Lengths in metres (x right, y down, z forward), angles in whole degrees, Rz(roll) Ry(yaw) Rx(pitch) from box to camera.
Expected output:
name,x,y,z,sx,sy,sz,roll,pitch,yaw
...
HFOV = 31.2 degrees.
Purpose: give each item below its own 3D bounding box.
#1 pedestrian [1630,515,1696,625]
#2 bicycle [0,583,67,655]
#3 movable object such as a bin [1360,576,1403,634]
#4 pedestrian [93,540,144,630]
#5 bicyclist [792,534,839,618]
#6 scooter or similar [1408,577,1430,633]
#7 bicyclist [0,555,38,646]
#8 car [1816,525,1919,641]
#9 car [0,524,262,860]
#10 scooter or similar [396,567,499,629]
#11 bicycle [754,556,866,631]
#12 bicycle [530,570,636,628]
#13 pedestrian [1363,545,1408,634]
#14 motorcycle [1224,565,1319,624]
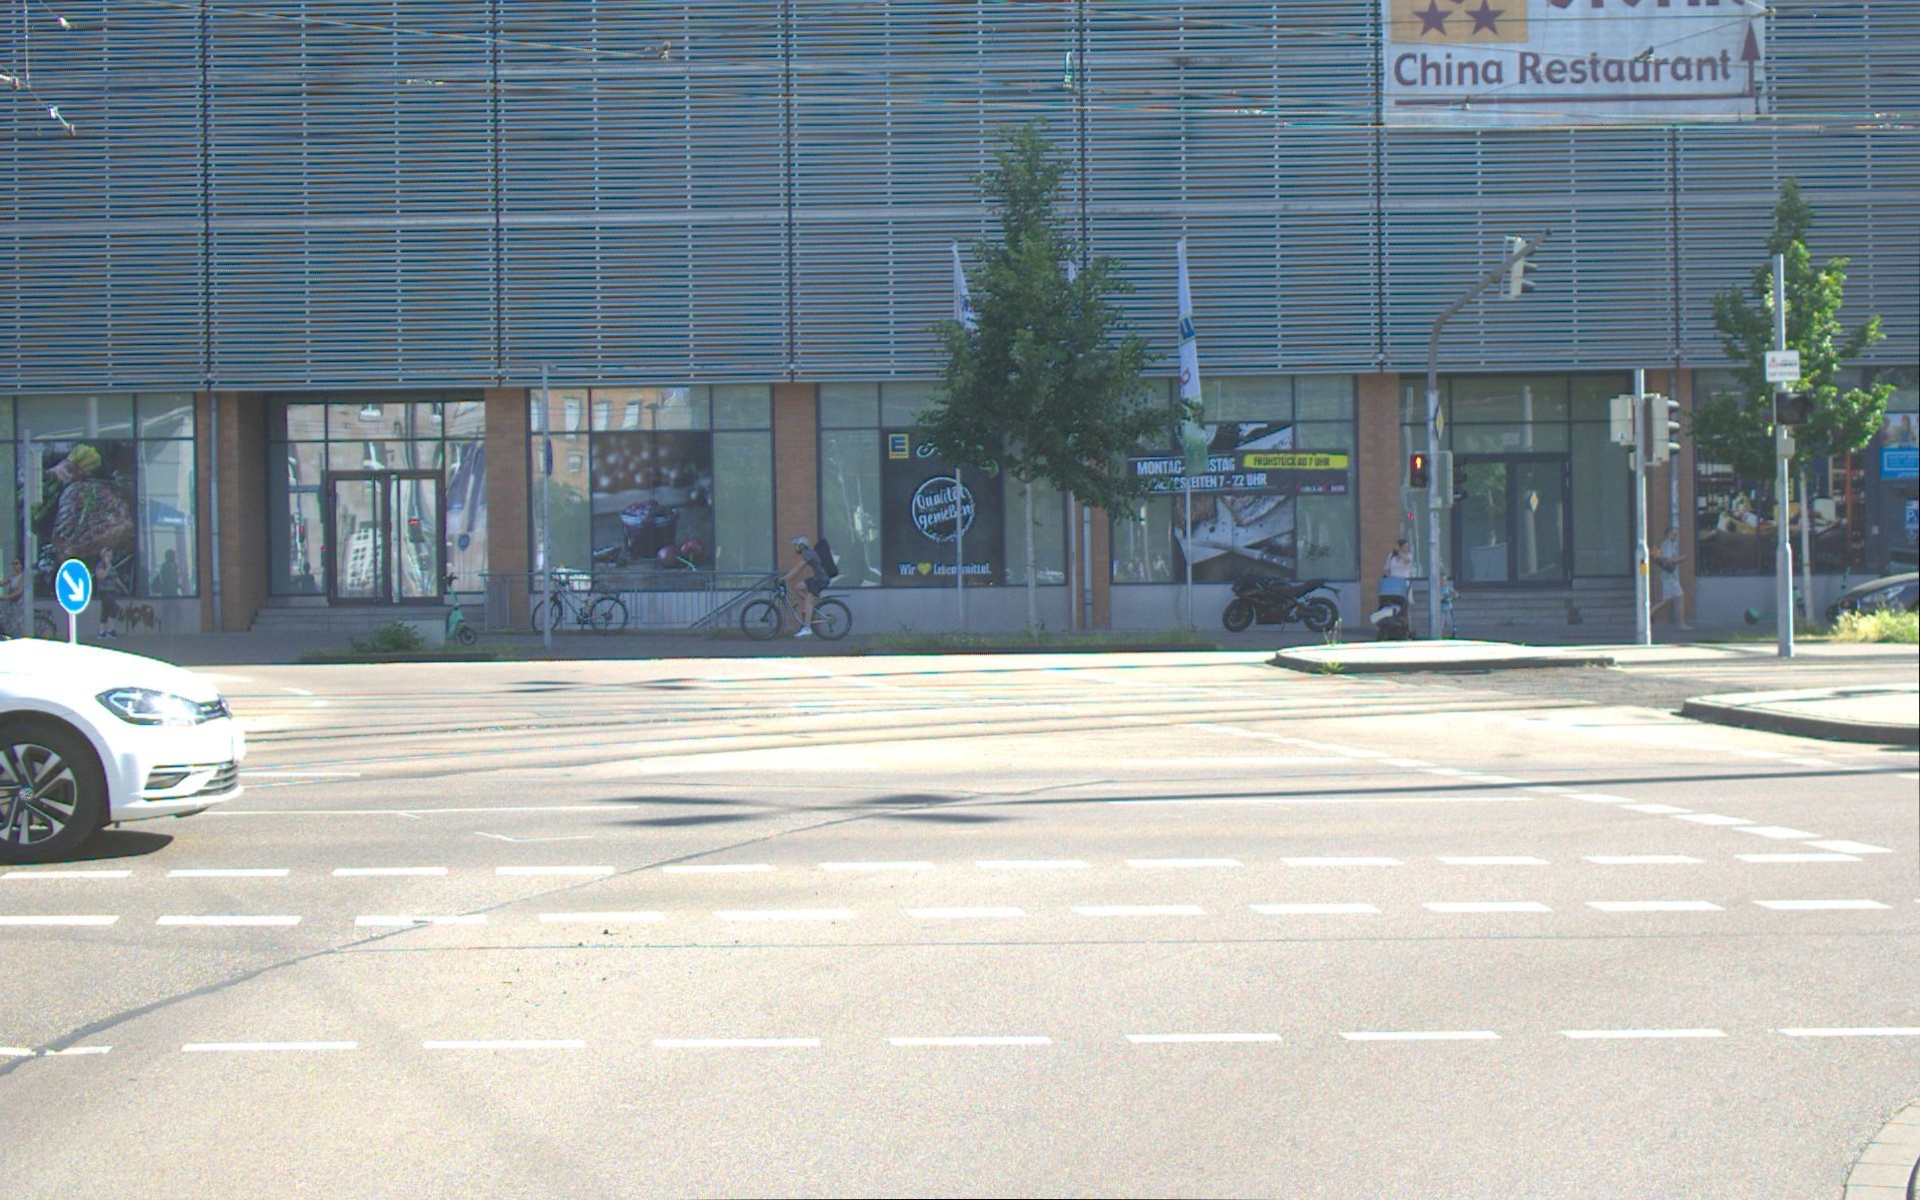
name,x,y,z,sx,sy,sz,roll,pitch,yaw
pedestrian,12.105,-0.507,59.223,0.950,1.822,0.845,-2,-3,5
bicycle,-15.238,0.312,54.866,0.568,1.082,1.859,1,3,43
movable object such as a bin,6.719,0.080,54.813,0.613,0.901,0.968,1,0,10
pedestrian,-15.007,-0.271,61.296,0.661,1.595,0.594,1,0,18
bicyclist,-2.439,-0.414,58.238,0.753,1.382,0.565,-1,2,-1
scooter or similar,7.358,0.076,55.097,0.295,0.870,1.003,1,0,10
bicyclist,-15.272,0.003,54.786,0.675,1.422,0.847,1,3,43
car,13.761,-0.142,45.852,4.146,1.464,1.841,3,0,-1
car,-5.514,0.407,15.939,4.281,1.467,1.866,-1,1,-6
scooter or similar,-9.071,-0.044,60.931,1.792,1.062,0.613,0,2,-8
bicycle,-2.534,-0.115,58.278,1.857,1.213,0.569,-1,2,-1
bicycle,-6.642,-0.015,60.548,1.815,0.986,0.558,-1,2,-10
pedestrian,6.838,-0.176,55.274,0.655,1.409,0.849,1,0,10
motorcycle,5.501,-0.100,60.641,1.640,1.001,0.446,1,1,6
